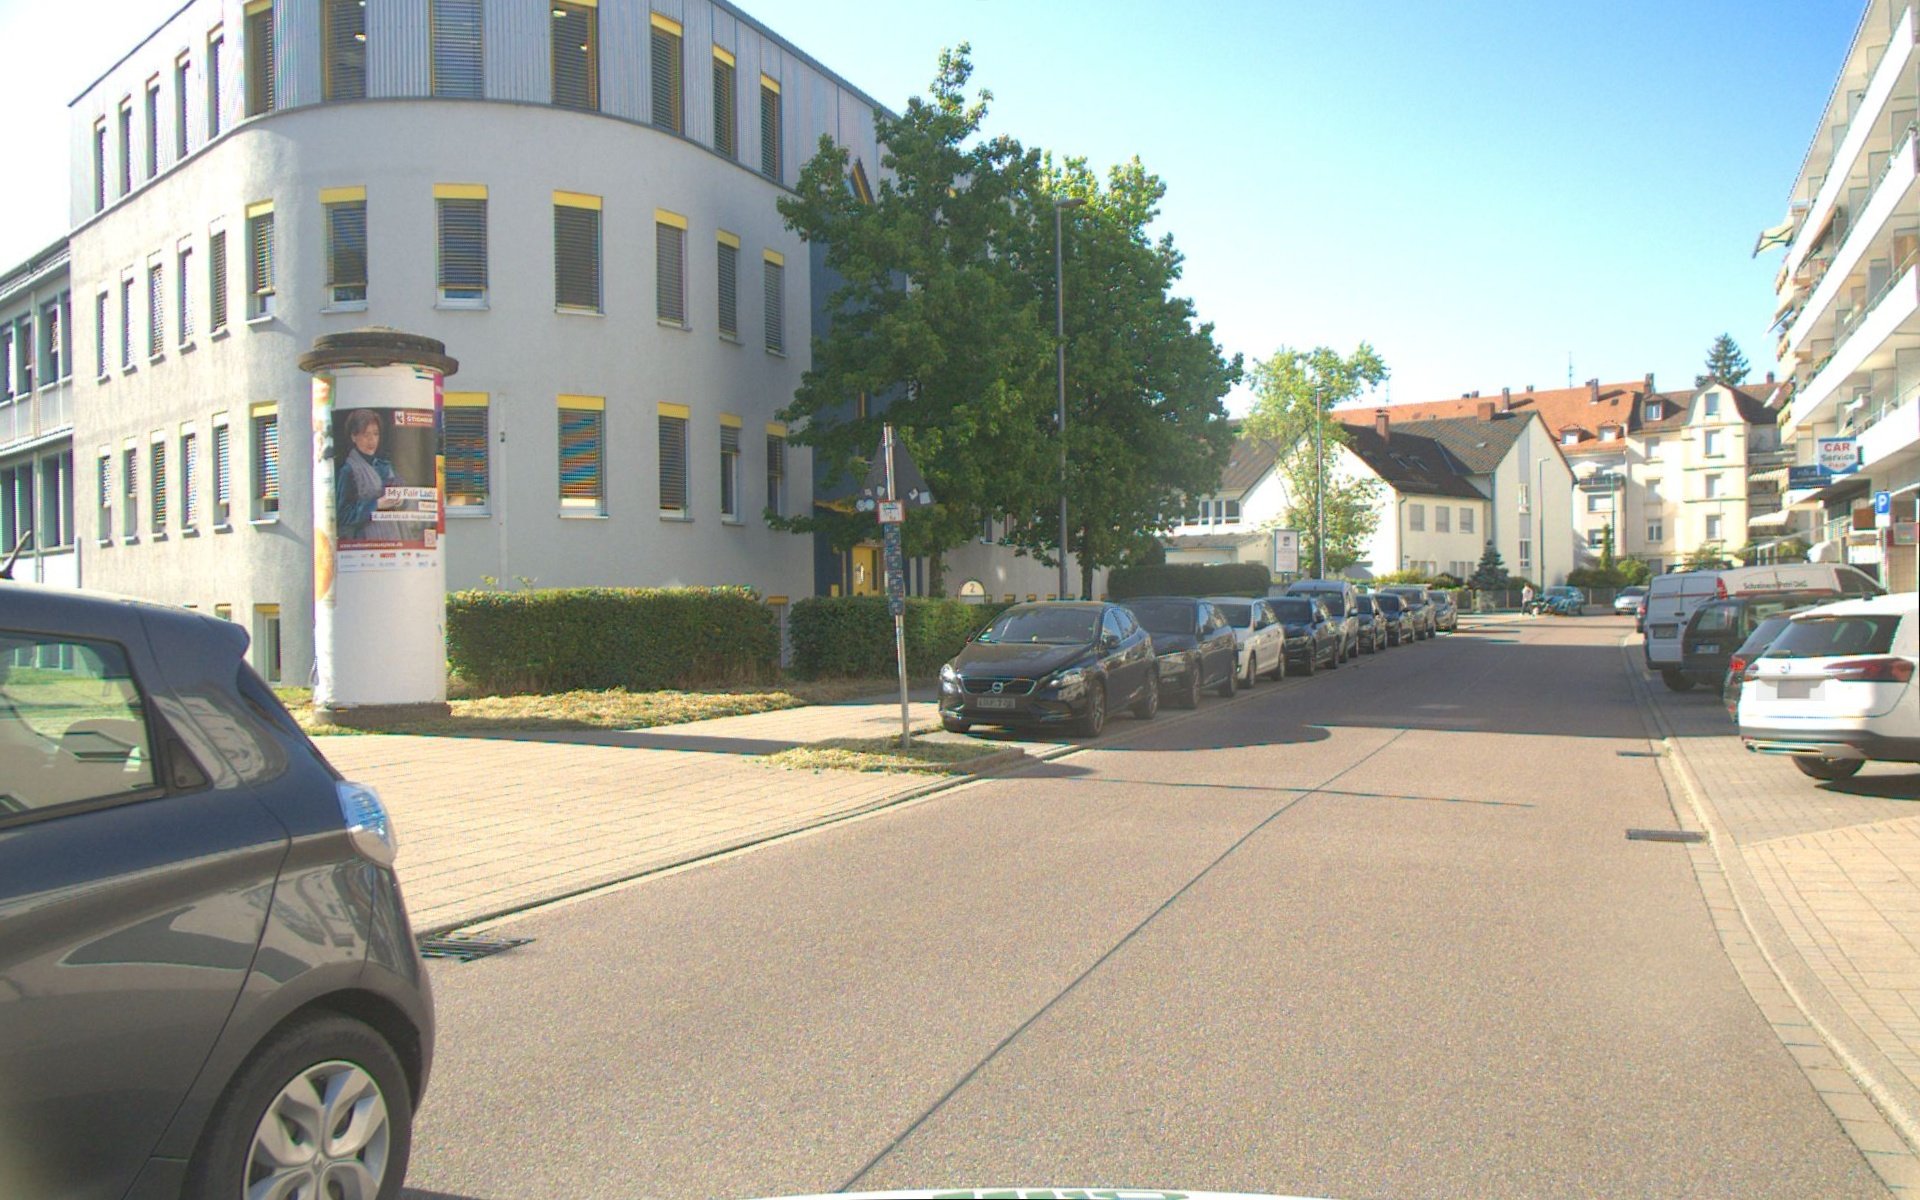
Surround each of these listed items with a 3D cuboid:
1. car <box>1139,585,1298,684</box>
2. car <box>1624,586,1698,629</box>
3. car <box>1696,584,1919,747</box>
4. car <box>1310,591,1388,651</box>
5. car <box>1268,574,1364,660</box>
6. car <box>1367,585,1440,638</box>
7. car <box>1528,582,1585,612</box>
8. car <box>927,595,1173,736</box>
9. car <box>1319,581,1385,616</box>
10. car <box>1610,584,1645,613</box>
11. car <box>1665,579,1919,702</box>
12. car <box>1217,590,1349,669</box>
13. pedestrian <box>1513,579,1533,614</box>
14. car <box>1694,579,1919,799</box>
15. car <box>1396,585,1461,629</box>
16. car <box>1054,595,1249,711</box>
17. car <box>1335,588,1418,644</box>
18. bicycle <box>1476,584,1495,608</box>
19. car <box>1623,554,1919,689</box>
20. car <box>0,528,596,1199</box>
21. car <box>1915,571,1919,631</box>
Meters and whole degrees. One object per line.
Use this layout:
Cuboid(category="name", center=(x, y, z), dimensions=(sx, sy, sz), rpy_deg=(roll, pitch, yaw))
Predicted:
Cuboid(category="car", center=(4.541, 0.565, 28.514), dimensions=(1.868, 1.557, 4.626), rpy_deg=(-1, 0, 20))
Cuboid(category="car", center=(25.492, 0.268, 60.048), dimensions=(1.933, 1.476, 4.995), rpy_deg=(-1, 0, 29))
Cuboid(category="car", center=(9.901, 0.628, 16.868), dimensions=(4.085, 1.523, 1.817), rpy_deg=(-1, -2, -13))
Cuboid(category="car", center=(10.005, 0.500, 42.351), dimensions=(1.564, 1.466, 4.001), rpy_deg=(0, 0, 19))
Cuboid(category="car", center=(8.211, 0.347, 37.923), dimensions=(1.652, 1.871, 4.343), rpy_deg=(-1, 0, 19))
Cuboid(category="car", center=(14.209, 0.336, 52.841), dimensions=(1.685, 1.614, 4.420), rpy_deg=(-1, 0, 22))
Cuboid(category="car", center=(31.694, -0.189, 87.852), dimensions=(1.767, 1.499, 4.315), rpy_deg=(1, 1, 35))
Cuboid(category="car", center=(1.180, 0.671, 19.341), dimensions=(1.752, 1.435, 4.224), rpy_deg=(0, 0, 20))
Cuboid(category="car", center=(19.145, -0.040, 80.677), dimensions=(1.776, 1.583, 3.165), rpy_deg=(-2, -3, 45))
Cuboid(category="car", center=(35.798, -0.098, 88.694), dimensions=(1.691, 1.511, 4.105), rpy_deg=(-1, 0, 22))
Cuboid(category="car", center=(12.328, 0.554, 23.555), dimensions=(3.912, 1.515, 1.612), rpy_deg=(-3, -2, -11))
Cuboid(category="car", center=(6.526, 0.541, 33.076), dimensions=(1.697, 1.465, 4.610), rpy_deg=(-1, 0, 23))
Cuboid(category="pedestrian", center=(28.583, -0.165, 83.949), dimensions=(0.673, 1.733, 0.819), rpy_deg=(-2, -3, 43))
Cuboid(category="car", center=(8.706, 0.551, 13.451), dimensions=(4.776, 1.489, 1.966), rpy_deg=(-3, 1, -14))
Cuboid(category="car", center=(17.629, 0.232, 62.087), dimensions=(1.952, 1.561, 4.919), rpy_deg=(-1, 1, 21))
Cuboid(category="car", center=(2.873, 0.710, 23.902), dimensions=(1.868, 1.505, 4.381), rpy_deg=(-1, 0, 20))
Cuboid(category="car", center=(11.979, 0.430, 47.407), dimensions=(1.691, 1.490, 4.438), rpy_deg=(-1, 0, 22))
Cuboid(category="bicycle", center=(28.442, -0.204, 89.512), dimensions=(0.448, 1.272, 1.922), rpy_deg=(-1, -2, 33))
Cuboid(category="car", center=(13.325, 0.349, 26.851), dimensions=(4.448, 1.931, 2.038), rpy_deg=(-2, -2, -20))
Cuboid(category="car", center=(-2.518, 0.652, 2.632), dimensions=(1.799, 1.530, 4.137), rpy_deg=(-1, -1, 21))
Cuboid(category="car", center=(26.487, -0.033, 41.269), dimensions=(4.300, 1.539, 1.979), rpy_deg=(-2, -1, 21))
